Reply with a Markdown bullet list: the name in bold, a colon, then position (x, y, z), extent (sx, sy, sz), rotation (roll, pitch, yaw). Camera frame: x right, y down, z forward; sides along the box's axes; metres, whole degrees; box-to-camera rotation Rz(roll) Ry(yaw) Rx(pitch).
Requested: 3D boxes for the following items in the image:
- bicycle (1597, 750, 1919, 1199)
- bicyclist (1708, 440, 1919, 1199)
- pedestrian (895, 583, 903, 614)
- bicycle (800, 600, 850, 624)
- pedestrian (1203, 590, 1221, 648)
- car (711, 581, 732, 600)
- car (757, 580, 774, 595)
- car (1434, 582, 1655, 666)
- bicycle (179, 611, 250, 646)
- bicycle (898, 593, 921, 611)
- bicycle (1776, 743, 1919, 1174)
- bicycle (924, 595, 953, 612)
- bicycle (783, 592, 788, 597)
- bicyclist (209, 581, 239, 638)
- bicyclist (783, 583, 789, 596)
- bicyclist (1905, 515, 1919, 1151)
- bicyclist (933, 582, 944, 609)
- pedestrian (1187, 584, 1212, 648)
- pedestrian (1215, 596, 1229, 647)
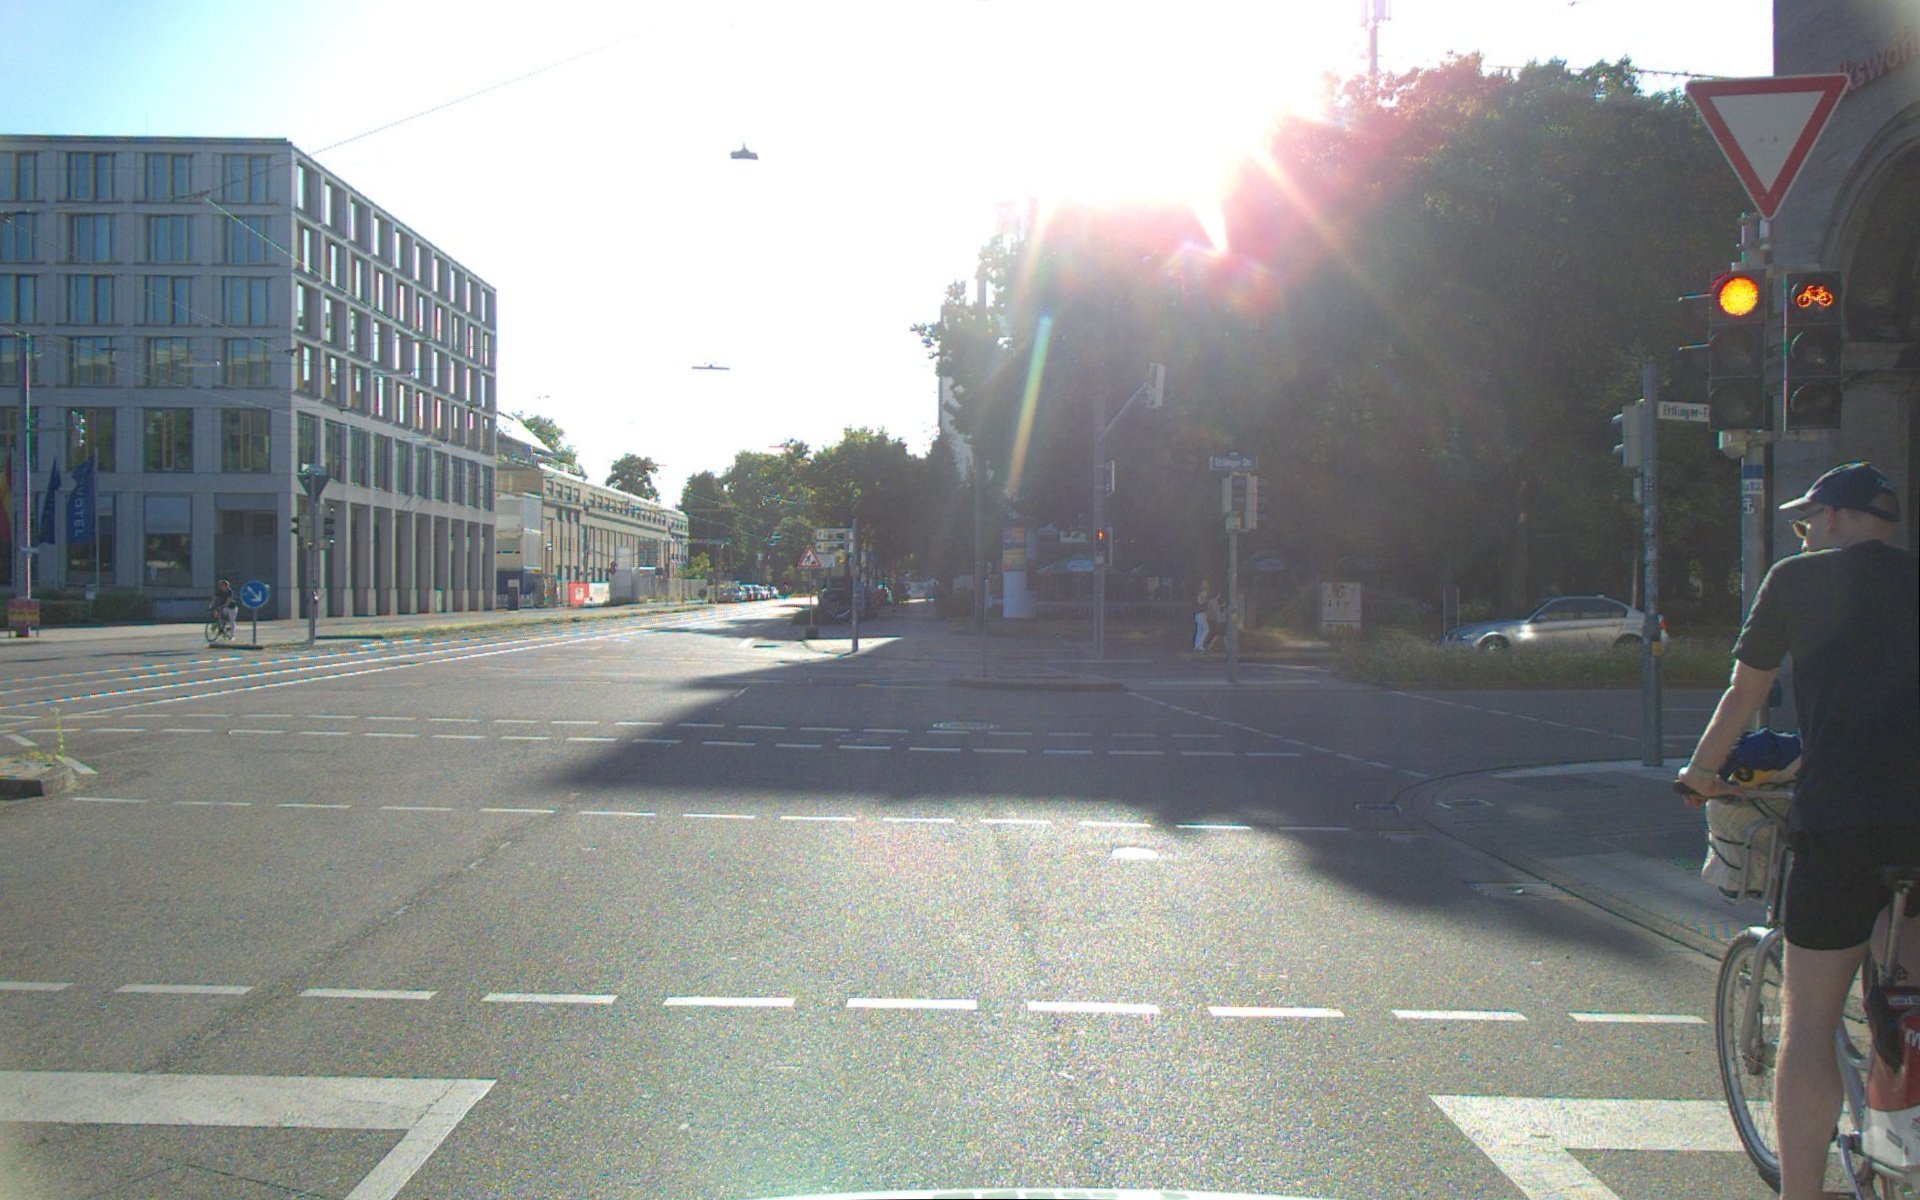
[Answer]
- **bicycle**: position (2.074, 0.986, 3.890), extent (0.505, 1.096, 1.728), rotation (1, 0, 1)
- **bicyclist**: position (2.093, 0.583, 3.732), extent (0.547, 1.830, 0.550), rotation (1, 0, 1)
- **pedestrian**: position (-3.615, -0.110, 98.382), extent (0.454, 1.845, 0.502), rotation (0, 0, -5)
- **bicycle**: position (-5.490, 0.503, 67.383), extent (1.976, 0.907, 0.650), rotation (-2, -1, 27)
- **pedestrian**: position (6.790, 0.509, 44.561), extent (0.430, 1.529, 0.437), rotation (0, 0, 0)
- **car**: position (-22.482, -0.915, 156.111), extent (1.659, 1.748, 4.244), rotation (1, 0, -4)
- **car**: position (-22.843, -1.457, 194.360), extent (1.659, 1.748, 4.244), rotation (1, 0, -4)
- **car**: position (11.824, 0.471, 33.590), extent (3.912, 1.639, 1.650), rotation (0, 0, -1)
- **bicycle**: position (-21.309, 0.812, 47.308), extent (1.834, 0.951, 0.757), rotation (0, 0, -25)
- **bicycle**: position (-3.153, 0.122, 102.852), extent (0.569, 1.096, 1.811), rotation (0, 0, -32)
- **bicycle**: position (2.862, 1.005, 4.338), extent (0.523, 1.096, 1.750), rotation (1, 0, -2)
- **bicycle**: position (-1.359, 0.208, 104.011), extent (1.787, 1.096, 0.577), rotation (0, 0, -1)
- **bicycle**: position (-18.728, -0.545, 177.708), extent (0.491, 0.524, 1.257), rotation (1, 0, -2)
- **bicyclist**: position (-21.102, 0.255, 47.400), extent (0.765, 1.617, 0.755), rotation (0, 0, -25)
- **bicyclist**: position (-18.717, -1.142, 177.686), extent (0.584, 1.401, 0.637), rotation (1, -1, -2)
- **bicyclist**: position (2.886, 0.633, 4.230), extent (0.546, 1.721, 0.640), rotation (1, 0, -2)
- **bicyclist**: position (-1.351, -0.293, 104.007), extent (0.683, 1.721, 0.571), rotation (0, 0, -1)
- **pedestrian**: position (6.397, 0.419, 44.192), extent (0.571, 1.692, 0.514), rotation (1, 1, 1)
- **pedestrian**: position (6.893, 0.559, 43.468), extent (0.310, 1.339, 0.345), rotation (1, 1, 1)
